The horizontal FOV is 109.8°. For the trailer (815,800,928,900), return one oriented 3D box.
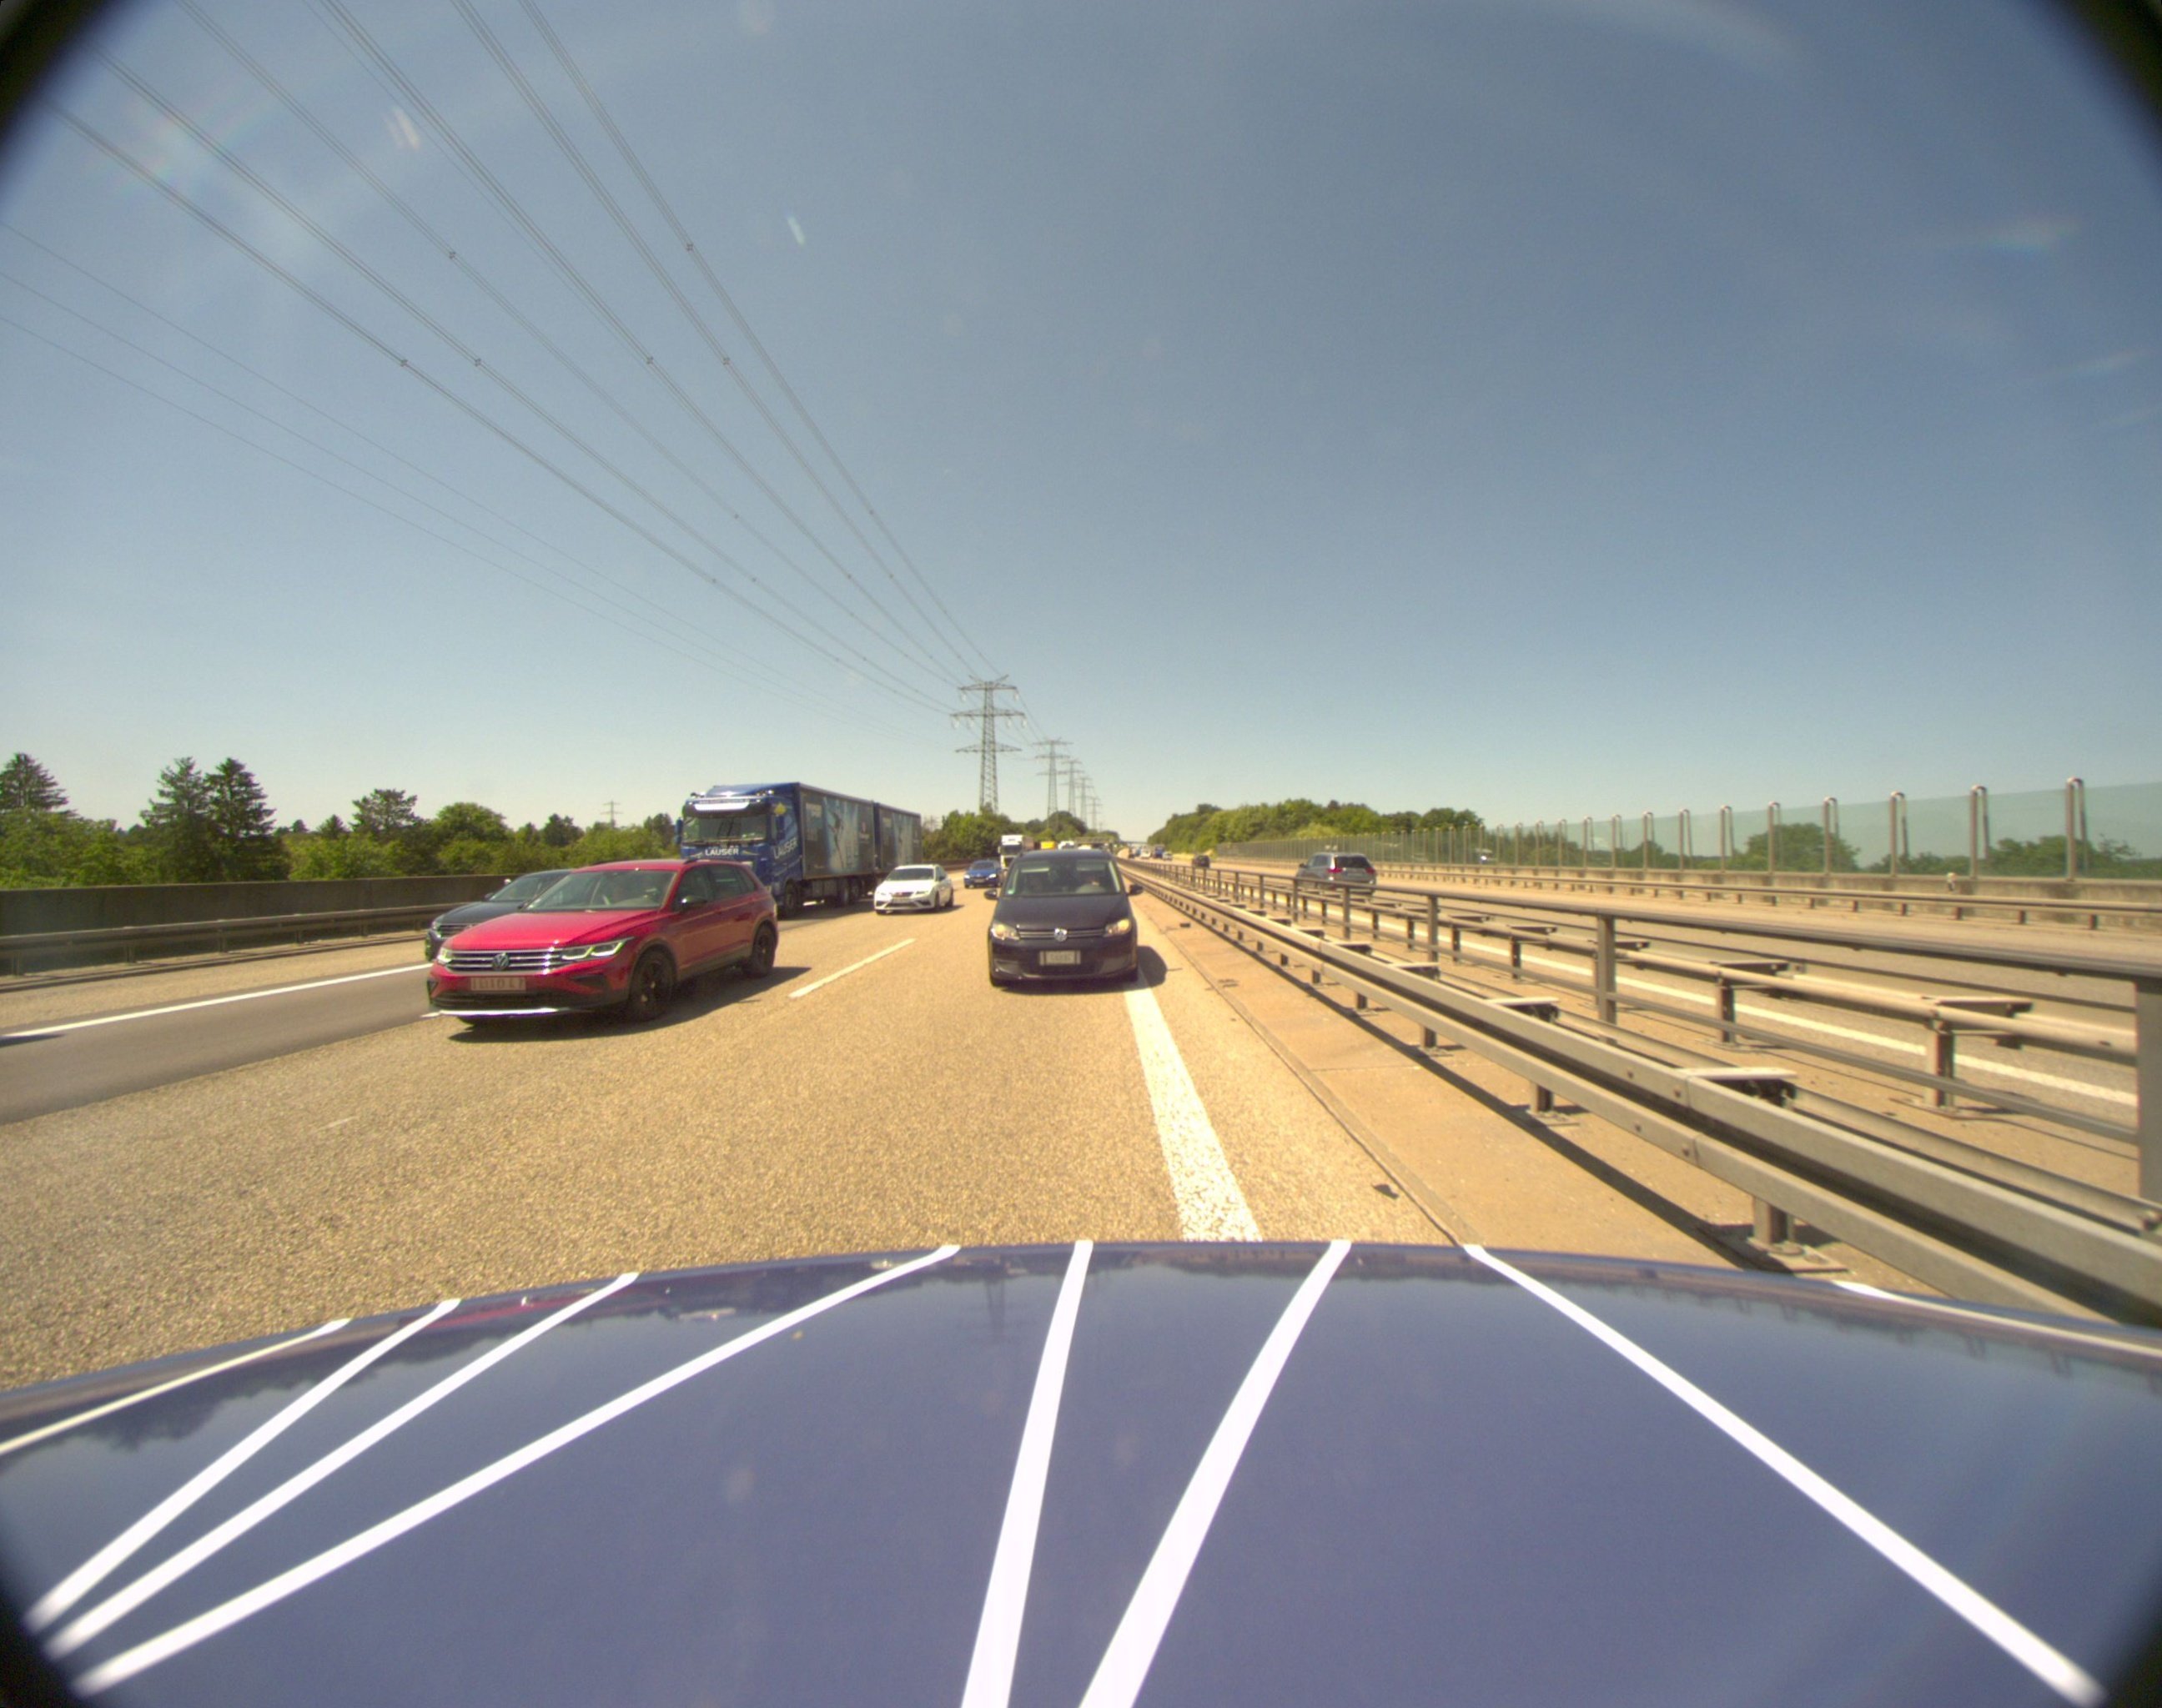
[{"bbox_3d":[-9.219,-0.146,34.609,2.572,3.921,8.479,-2,0,1],"label":"trailer"}]

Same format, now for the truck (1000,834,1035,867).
[{"bbox_3d":[-7.380,-0.453,90.155,2.985,3.538,10.967,-2,0,1],"label":"truck"}]

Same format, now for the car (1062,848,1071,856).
[{"bbox_3d":[-3.501,-0.458,184.198,1.998,2.002,4.000,0,0,1],"label":"car"}]

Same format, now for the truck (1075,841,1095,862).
[{"bbox_3d":[0.540,-0.298,97.085,2.284,2.479,5.861,-2,0,1],"label":"truck"}]

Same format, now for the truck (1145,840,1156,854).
[{"bbox_3d":[23.284,-2.295,256.009,2.876,4.514,9.989,2,1,2],"label":"truck"}]

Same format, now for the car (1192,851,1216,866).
[{"bbox_3d":[14.066,0.530,87.161,1.999,1.662,4.186,1,0,0],"label":"car"}]

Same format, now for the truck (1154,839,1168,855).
[{"bbox_3d":[21.956,-1.884,209.381,2.876,4.062,9.989,2,1,2],"label":"truck"}]

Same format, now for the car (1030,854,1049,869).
[{"bbox_3d":[-4.325,0.758,80.436,1.763,1.495,4.094,1,0,0],"label":"car"}]

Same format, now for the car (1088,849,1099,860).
[{"bbox_3d":[2.478,0.035,149.177,1.998,2.002,4.000,-2,1,1],"label":"car"}]

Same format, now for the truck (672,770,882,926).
[{"bbox_3d":[-9.327,-0.178,25.131,2.529,4.043,10.446,-1,0,1],"label":"truck"}]

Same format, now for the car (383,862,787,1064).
[{"bbox_3d":[-5.088,0.961,8.660,1.779,1.652,4.224,-1,0,0],"label":"car"}]

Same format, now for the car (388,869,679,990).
[{"bbox_3d":[-8.679,1.096,12.589,1.740,1.518,4.106,-2,0,1],"label":"car"}]

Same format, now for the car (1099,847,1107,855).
[{"bbox_3d":[5.773,-0.699,202.842,1.998,2.002,4.000,-2,1,1],"label":"car"}]

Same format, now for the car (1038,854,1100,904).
[{"bbox_3d":[-0.330,0.759,25.297,1.845,1.495,4.377,-1,0,1],"label":"car"}]

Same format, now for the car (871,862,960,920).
[{"bbox_3d":[-4.980,1.062,23.367,1.843,1.481,4.071,-2,0,-1],"label":"car"}]

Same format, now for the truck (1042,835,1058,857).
[{"bbox_3d":[-6.005,-1.465,147.832,2.346,4.058,8.278,-2,1,1],"label":"truck"}]

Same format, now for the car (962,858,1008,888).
[{"bbox_3d":[-5.151,1.002,41.253,1.739,1.437,4.211,-1,0,2],"label":"car"}]

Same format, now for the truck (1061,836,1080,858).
[{"bbox_3d":[-1.845,-1.249,140.511,2.980,3.832,10.562,-2,0,1],"label":"truck"}]

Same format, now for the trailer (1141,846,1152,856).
[{"bbox_3d":[17.255,-0.831,201.176,2.322,2.690,6.361,1,0,1],"label":"trailer"}]

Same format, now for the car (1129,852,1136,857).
[{"bbox_3d":[13.523,0.105,200.109,1.772,1.411,4.266,0,0,1],"label":"car"}]

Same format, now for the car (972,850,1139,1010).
[{"bbox_3d":[-0.261,0.814,10.210,1.740,1.652,4.000,-2,1,0],"label":"car"}]

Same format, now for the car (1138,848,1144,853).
[{"bbox_3d":[19.804,-1.217,251.497,1.853,1.386,4.000,2,0,1],"label":"car"}]

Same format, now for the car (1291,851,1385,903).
[{"bbox_3d":[9.080,0.755,27.210,1.810,1.618,4.477,-3,0,0],"label":"car"}]

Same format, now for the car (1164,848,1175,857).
[{"bbox_3d":[20.540,-0.381,177.005,2.039,1.972,4.489,2,0,1],"label":"car"}]
